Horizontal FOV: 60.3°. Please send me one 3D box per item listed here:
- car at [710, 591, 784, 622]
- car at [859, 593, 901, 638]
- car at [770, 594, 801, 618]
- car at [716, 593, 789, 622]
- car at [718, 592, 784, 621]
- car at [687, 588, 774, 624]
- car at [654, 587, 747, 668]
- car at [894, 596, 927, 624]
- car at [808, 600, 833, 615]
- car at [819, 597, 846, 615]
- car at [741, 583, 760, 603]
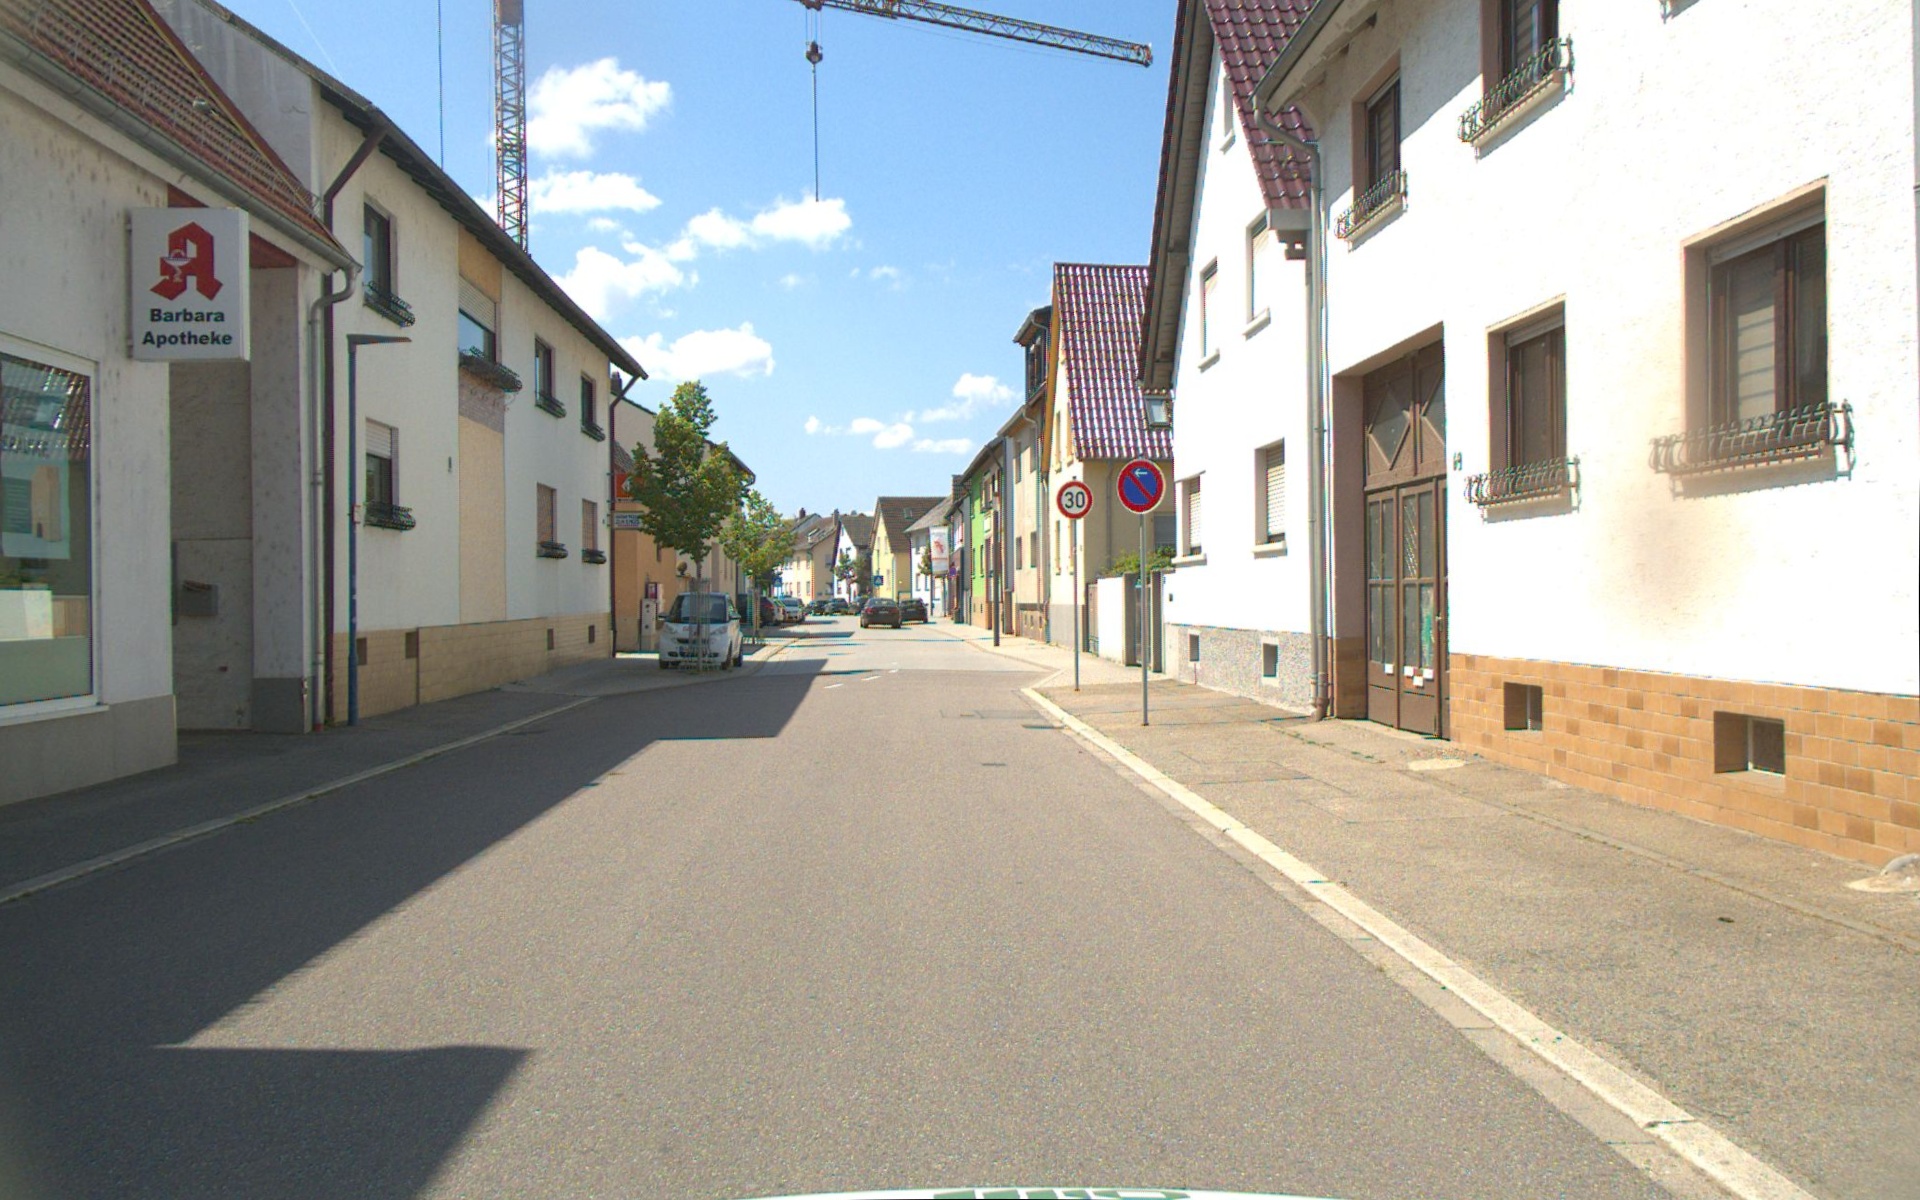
[{"bbox_3d":[-11.653,0.336,90.612,3.822,1.529,1.750,2,0,-2],"label":"car"},{"bbox_3d":[-3.975,0.726,81.399,1.954,2.094,4.370,-1,0,-4],"label":"car"},{"bbox_3d":[-10.939,0.349,104.051,1.723,1.435,3.875,1,0,-3],"label":"car"},{"bbox_3d":[-11.653,0.438,93.097,3.908,1.467,1.690,2,0,-4],"label":"car"},{"bbox_3d":[-12.089,0.377,95.877,3.618,1.552,1.671,2,0,-3],"label":"car"},{"bbox_3d":[-11.430,0.289,82.561,4.136,1.687,1.783,2,0,-4],"label":"car"},{"bbox_3d":[-5.393,0.551,34.627,1.541,1.588,2.821,2,0,-2],"label":"car"},{"bbox_3d":[-2.848,0.547,95.519,1.821,1.484,4.584,-2,0,-2],"label":"car"},{"bbox_3d":[-13.411,0.673,158.890,1.682,1.411,3.690,-1,0,-15],"label":"car"},{"bbox_3d":[-11.690,0.555,151.450,1.816,1.590,3.678,-1,0,-15],"label":"car"},{"bbox_3d":[-22.564,-0.746,178.041,1.957,2.049,3.991,-1,0,-9],"label":"car"}]
